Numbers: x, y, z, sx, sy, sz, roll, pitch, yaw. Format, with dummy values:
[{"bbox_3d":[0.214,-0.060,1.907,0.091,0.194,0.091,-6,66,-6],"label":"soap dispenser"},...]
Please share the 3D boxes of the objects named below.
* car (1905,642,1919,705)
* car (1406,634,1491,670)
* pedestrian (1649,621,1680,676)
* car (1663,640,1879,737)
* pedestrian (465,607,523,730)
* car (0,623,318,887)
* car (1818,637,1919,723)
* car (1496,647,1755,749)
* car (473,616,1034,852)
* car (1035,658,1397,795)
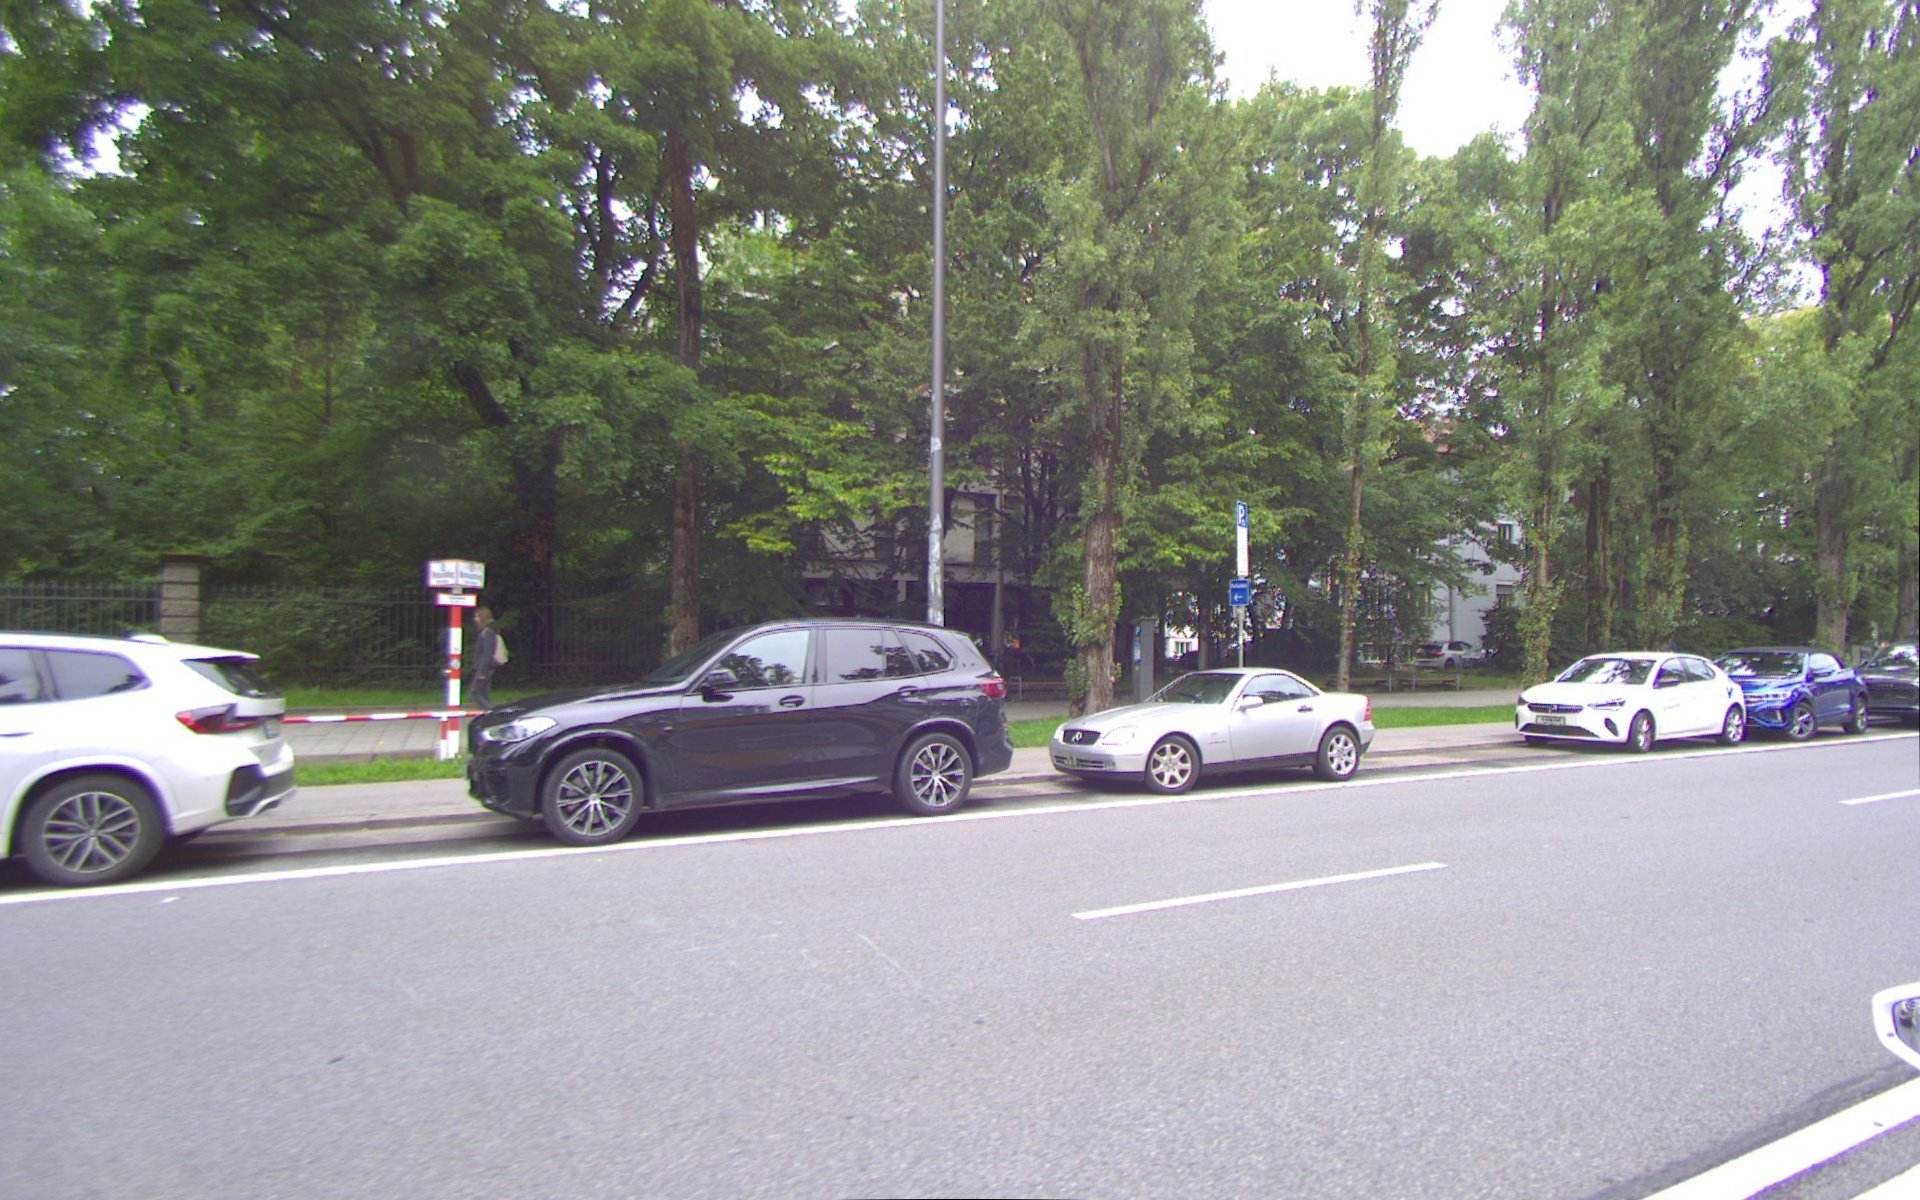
[{"bbox_3d":[24.320,1.715,23.835,3.820,1.451,1.534,1,-5,-28],"label":"car"},{"bbox_3d":[24.163,2.530,49.675,4.223,1.706,1.981,1,-2,-35],"label":"car"},{"bbox_3d":[22.978,1.576,32.751,0.632,1.762,0.597,1,-2,-26],"label":"pedestrian"},{"bbox_3d":[14.370,1.496,17.753,4.073,1.538,1.734,2,-4,-32],"label":"car"},{"bbox_3d":[-7.180,1.035,15.470,0.765,1.839,0.638,1,-1,-27],"label":"pedestrian"},{"bbox_3d":[-6.958,0.988,6.593,4.402,1.609,1.780,1,-4,-26],"label":"car"},{"bbox_3d":[19.206,1.553,19.949,4.284,1.568,1.785,1,-5,-28],"label":"car"},{"bbox_3d":[10.425,1.455,15.703,3.954,1.431,1.679,1,-3,-28],"label":"car"},{"bbox_3d":[-1.804,1.050,9.130,4.659,1.680,1.873,1,-4,-28],"label":"car"},{"bbox_3d":[2.972,1.348,11.578,3.975,1.321,1.576,1,-3,-26],"label":"car"}]
